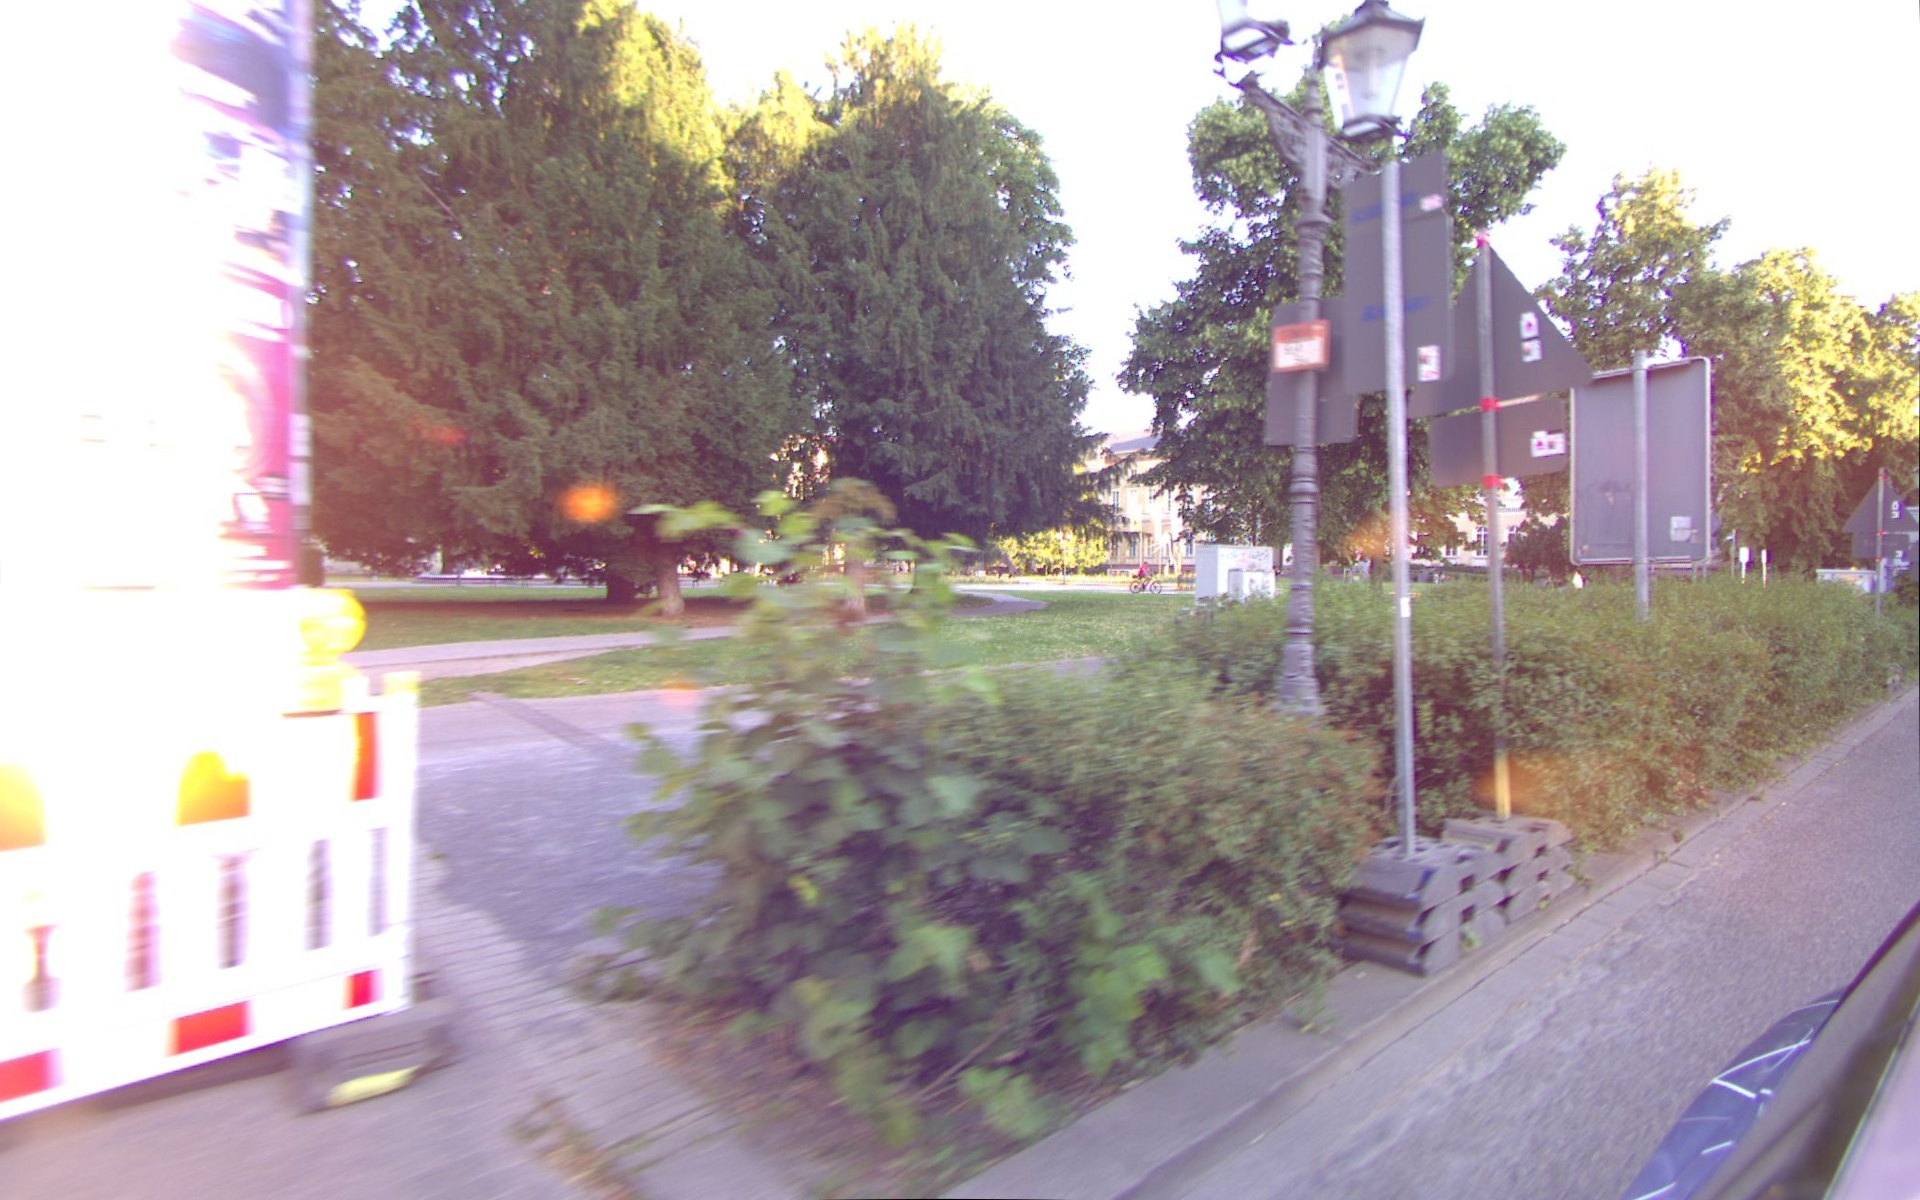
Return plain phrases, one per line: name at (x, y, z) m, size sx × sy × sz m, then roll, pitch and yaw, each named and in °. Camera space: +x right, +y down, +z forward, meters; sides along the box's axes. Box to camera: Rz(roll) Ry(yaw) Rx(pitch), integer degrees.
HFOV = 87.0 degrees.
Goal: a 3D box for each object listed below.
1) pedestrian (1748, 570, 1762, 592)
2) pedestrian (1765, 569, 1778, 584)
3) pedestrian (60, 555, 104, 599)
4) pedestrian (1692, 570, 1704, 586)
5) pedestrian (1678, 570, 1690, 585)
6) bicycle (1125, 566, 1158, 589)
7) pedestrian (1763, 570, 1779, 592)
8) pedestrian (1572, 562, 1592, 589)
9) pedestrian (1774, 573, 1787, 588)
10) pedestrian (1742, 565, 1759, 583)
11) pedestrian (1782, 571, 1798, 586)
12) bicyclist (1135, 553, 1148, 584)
pedestrian at (44.841, -1.077, 57.097) m, size 0.526 × 1.219 × 0.956 m, roll 2°, pitch 2°, yaw 42°
pedestrian at (59.175, -1.694, 73.834) m, size 0.595 × 1.063 × 0.393 m, roll 1°, pitch 2°, yaw 15°
pedestrian at (-25.727, -0.679, 29.666) m, size 0.707 × 1.267 × 0.913 m, roll 2°, pitch 2°, yaw 43°
pedestrian at (55.470, -1.662, 76.076) m, size 0.594 × 1.217 × 0.395 m, roll 1°, pitch 2°, yaw 8°
pedestrian at (54.474, -1.715, 76.147) m, size 0.593 × 1.122 × 0.395 m, roll 1°, pitch 2°, yaw 3°
bicycle at (9.922, -1.234, 55.395) m, size 1.748 × 1.191 × 0.563 m, roll 1°, pitch 2°, yaw 14°
pedestrian at (45.470, -1.046, 56.738) m, size 0.606 × 1.219 × 0.657 m, roll 2°, pitch 2°, yaw 42°
pedestrian at (38.151, -1.496, 62.077) m, size 0.745 × 1.646 × 0.857 m, roll -1°, pitch 2°, yaw -44°
pedestrian at (59.392, -1.445, 73.259) m, size 0.595 × 1.063 × 0.394 m, roll 1°, pitch 2°, yaw 12°
pedestrian at (63.866, -2.085, 81.761) m, size 0.742 × 1.461 × 0.815 m, roll 1°, pitch 2°, yaw 14°
pedestrian at (60.275, -1.593, 73.470) m, size 0.784 × 1.063 × 0.394 m, roll 1°, pitch 2°, yaw 13°
bicyclist at (9.933, -1.739, 55.377) m, size 0.667 × 1.652 × 0.656 m, roll 1°, pitch 2°, yaw 14°
